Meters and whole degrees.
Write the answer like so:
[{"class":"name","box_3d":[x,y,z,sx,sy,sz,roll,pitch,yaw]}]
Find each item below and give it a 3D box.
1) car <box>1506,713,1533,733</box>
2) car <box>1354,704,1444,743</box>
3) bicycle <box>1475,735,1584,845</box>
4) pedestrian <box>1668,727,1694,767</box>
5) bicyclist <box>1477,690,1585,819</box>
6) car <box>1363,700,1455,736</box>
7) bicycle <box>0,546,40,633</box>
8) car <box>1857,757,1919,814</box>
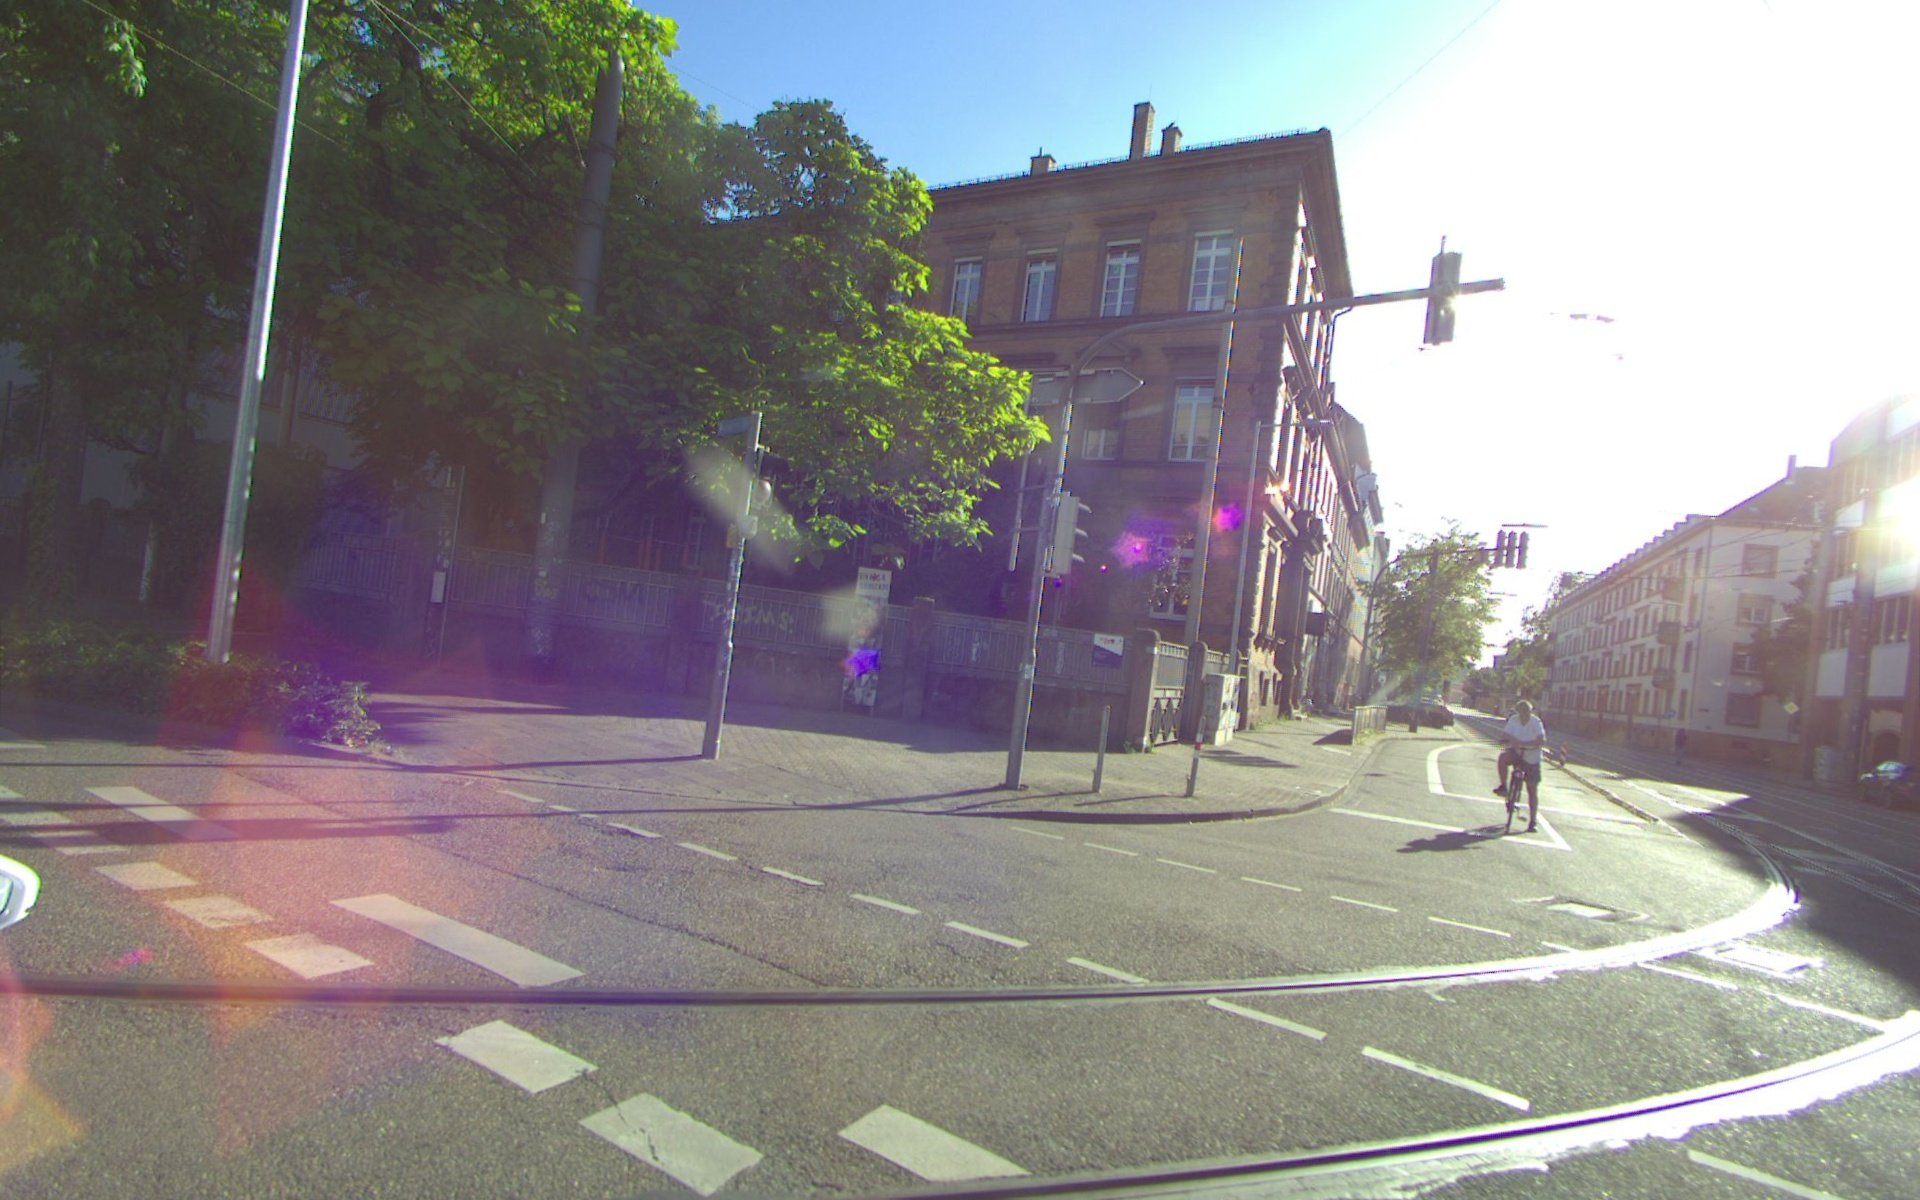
[{"class":"car","box_3d":[61.043,13.412,109.875,1.964,1.868,4.006,6,-4,23]},{"class":"car","box_3d":[27.627,7.749,63.447,4.649,1.737,2.002,7,-2,4]},{"class":"bicycle","box_3d":[7.625,2.500,13.585,0.830,1.132,2.333,7,-2,21]},{"class":"pedestrian","box_3d":[35.128,7.155,49.041,0.684,1.790,0.990,6,-1,23]},{"class":"bicyclist","box_3d":[7.691,2.052,13.614,0.993,1.526,0.928,7,-1,21]},{"class":"car","box_3d":[27.385,7.192,61.459,4.649,1.467,1.909,7,-2,4]},{"class":"bicycle","box_3d":[-12.605,-0.196,12.306,0.629,1.082,1.953,7,-2,8]},{"class":"car","box_3d":[32.124,6.309,33.962,1.859,1.635,3.998,6,-4,30]}]
